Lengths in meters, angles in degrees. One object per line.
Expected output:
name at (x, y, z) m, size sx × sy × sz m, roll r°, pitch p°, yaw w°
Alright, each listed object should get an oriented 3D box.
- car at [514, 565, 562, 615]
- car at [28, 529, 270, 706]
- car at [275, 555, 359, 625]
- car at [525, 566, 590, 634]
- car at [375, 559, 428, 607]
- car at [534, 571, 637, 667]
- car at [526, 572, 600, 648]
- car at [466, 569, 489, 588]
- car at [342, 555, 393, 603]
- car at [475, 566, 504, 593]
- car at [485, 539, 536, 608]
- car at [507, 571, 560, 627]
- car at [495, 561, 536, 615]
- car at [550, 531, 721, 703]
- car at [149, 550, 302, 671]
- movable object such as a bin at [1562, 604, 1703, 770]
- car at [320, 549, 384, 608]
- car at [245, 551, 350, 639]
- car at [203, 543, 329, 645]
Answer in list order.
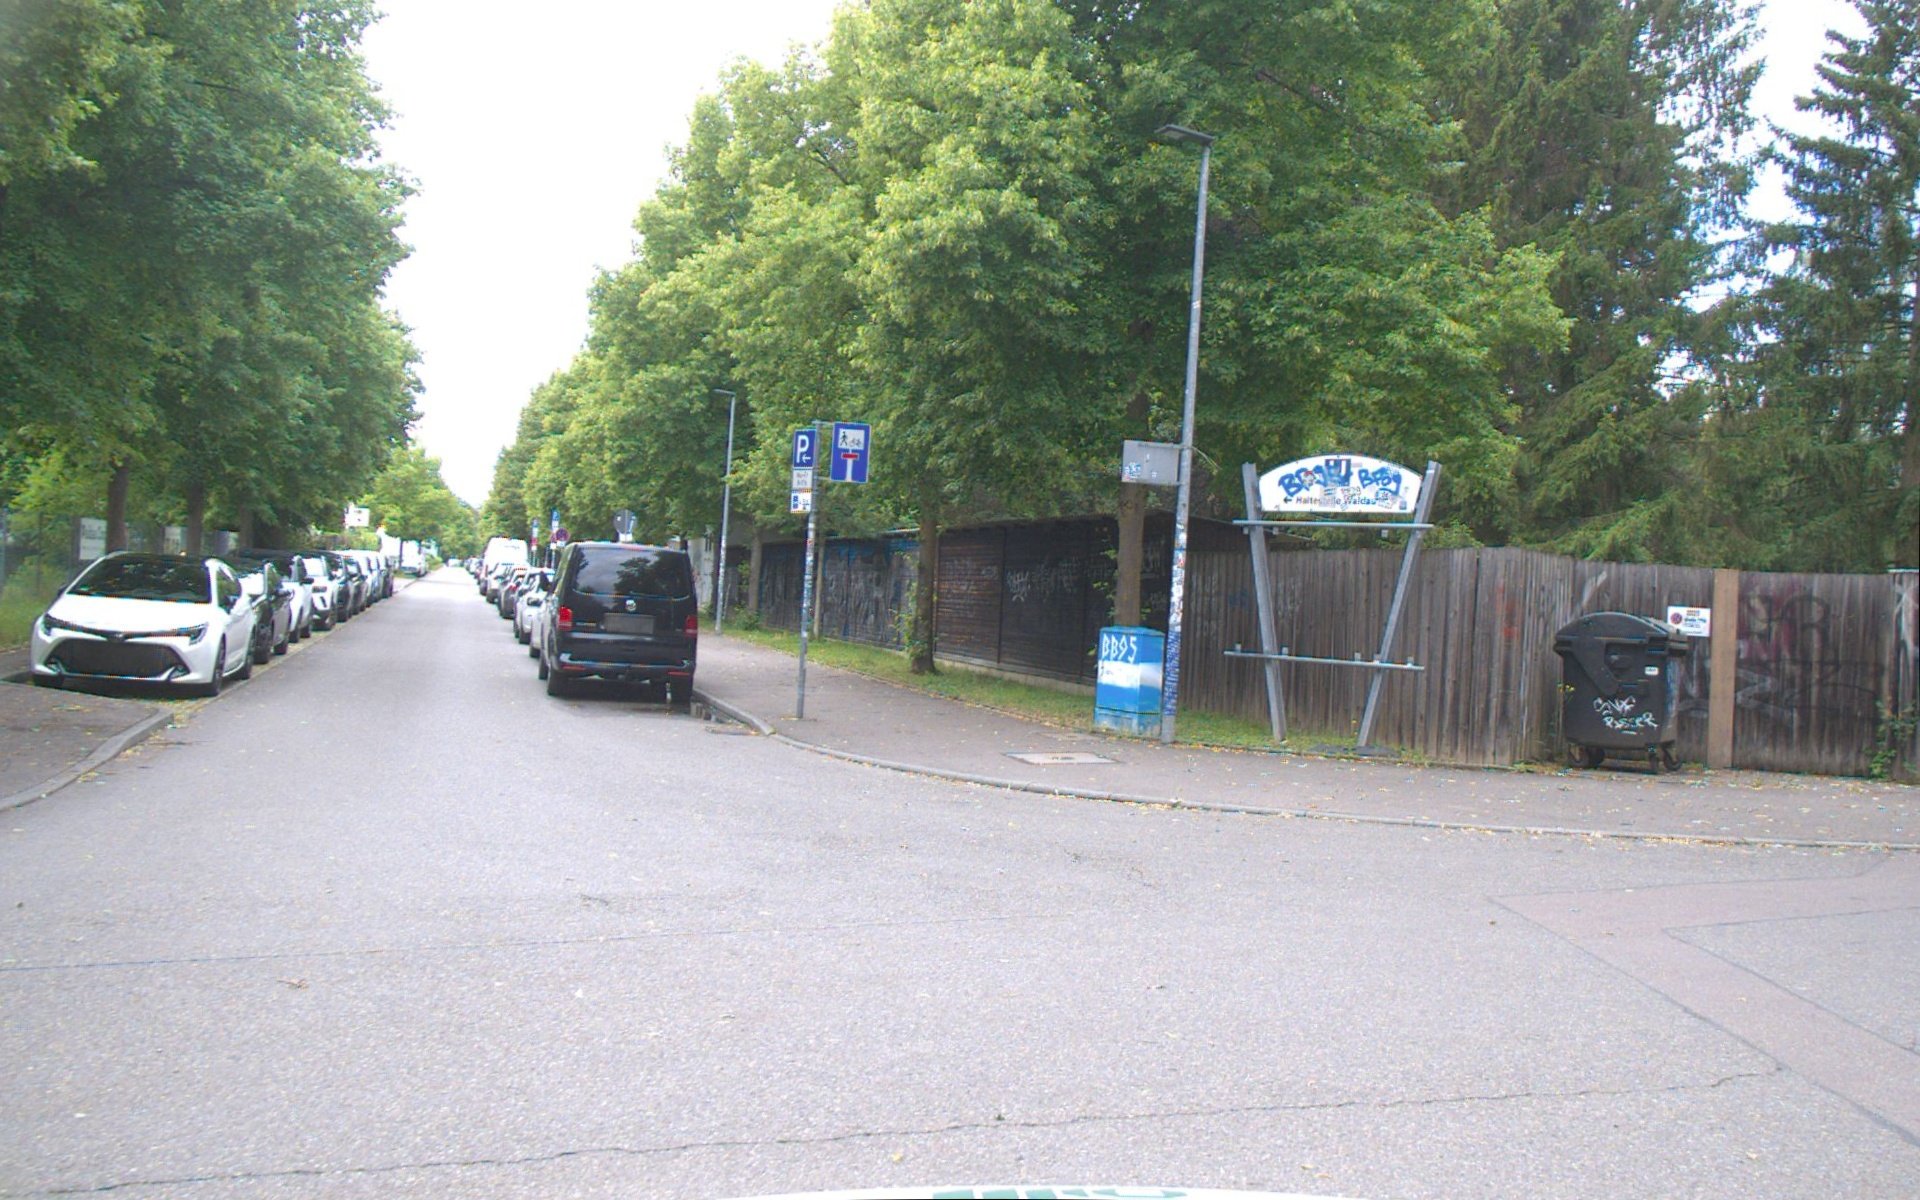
car at (-13.956, -0.340, 54.649) m, size 1.445 × 1.558 × 3.176 m, roll 2°, pitch 0°, yaw -15°
car at (-8.833, 0.158, 18.350) m, size 1.738 × 1.623 × 4.194 m, roll 5°, pitch -1°, yaw -18°
car at (-15.231, -0.243, 39.302) m, size 1.569 × 1.483 × 3.177 m, roll 5°, pitch -1°, yaw -18°
car at (-9.948, -0.012, 40.759) m, size 1.445 × 1.558 × 3.176 m, roll 2°, pitch 0°, yaw -15°
car at (-18.649, -0.574, 55.312) m, size 1.445 × 1.507 × 3.175 m, roll 2°, pitch 0°, yaw -16°
car at (-6.484, 0.295, 28.423) m, size 1.570 × 1.507 × 3.507 m, roll 2°, pitch 0°, yaw -15°
car at (-8.561, 0.191, 35.556) m, size 1.445 × 1.507 × 3.176 m, roll 2°, pitch 0°, yaw -15°
car at (-48.445, -2.134, 166.212) m, size 1.865 × 1.736 × 4.051 m, roll 2°, pitch -1°, yaw -13°
car at (-20.585, -0.723, 57.524) m, size 1.569 × 1.586 × 3.176 m, roll 1°, pitch 0°, yaw -19°
car at (-38.107, -1.611, 134.045) m, size 1.959 × 2.049 × 3.987 m, roll 2°, pitch -1°, yaw -13°
car at (-21.027, -1.235, 77.524) m, size 2.148 × 3.068 × 4.878 m, roll 2°, pitch 0°, yaw -15°
car at (-12.698, -0.051, 49.249) m, size 1.445 × 1.558 × 3.176 m, roll 2°, pitch 0°, yaw -15°
car at (-17.344, -0.487, 64.634) m, size 1.445 × 2.002 × 3.176 m, roll 2°, pitch 0°, yaw -15°
car at (-4.467, 0.200, 22.308) m, size 1.955 × 2.049 × 4.092 m, roll 2°, pitch 0°, yaw -15°
car at (-10.388, 0.118, 23.603) m, size 1.522 × 1.480 × 3.646 m, roll 5°, pitch -1°, yaw -18°
movable object such as a bin at (6.400, 0.804, 15.702) m, size 1.055 × 1.468 × 1.283 m, roll 1°, pitch -1°, yaw 30°
car at (-18.344, -0.641, 49.965) m, size 1.569 × 1.586 × 3.177 m, roll 5°, pitch -1°, yaw -18°
car at (-13.944, -0.125, 34.985) m, size 1.665 × 1.623 × 3.979 m, roll 5°, pitch -1°, yaw -18°
car at (-12.633, -0.127, 30.295) m, size 1.665 × 1.623 × 3.979 m, roll 5°, pitch -1°, yaw -18°
